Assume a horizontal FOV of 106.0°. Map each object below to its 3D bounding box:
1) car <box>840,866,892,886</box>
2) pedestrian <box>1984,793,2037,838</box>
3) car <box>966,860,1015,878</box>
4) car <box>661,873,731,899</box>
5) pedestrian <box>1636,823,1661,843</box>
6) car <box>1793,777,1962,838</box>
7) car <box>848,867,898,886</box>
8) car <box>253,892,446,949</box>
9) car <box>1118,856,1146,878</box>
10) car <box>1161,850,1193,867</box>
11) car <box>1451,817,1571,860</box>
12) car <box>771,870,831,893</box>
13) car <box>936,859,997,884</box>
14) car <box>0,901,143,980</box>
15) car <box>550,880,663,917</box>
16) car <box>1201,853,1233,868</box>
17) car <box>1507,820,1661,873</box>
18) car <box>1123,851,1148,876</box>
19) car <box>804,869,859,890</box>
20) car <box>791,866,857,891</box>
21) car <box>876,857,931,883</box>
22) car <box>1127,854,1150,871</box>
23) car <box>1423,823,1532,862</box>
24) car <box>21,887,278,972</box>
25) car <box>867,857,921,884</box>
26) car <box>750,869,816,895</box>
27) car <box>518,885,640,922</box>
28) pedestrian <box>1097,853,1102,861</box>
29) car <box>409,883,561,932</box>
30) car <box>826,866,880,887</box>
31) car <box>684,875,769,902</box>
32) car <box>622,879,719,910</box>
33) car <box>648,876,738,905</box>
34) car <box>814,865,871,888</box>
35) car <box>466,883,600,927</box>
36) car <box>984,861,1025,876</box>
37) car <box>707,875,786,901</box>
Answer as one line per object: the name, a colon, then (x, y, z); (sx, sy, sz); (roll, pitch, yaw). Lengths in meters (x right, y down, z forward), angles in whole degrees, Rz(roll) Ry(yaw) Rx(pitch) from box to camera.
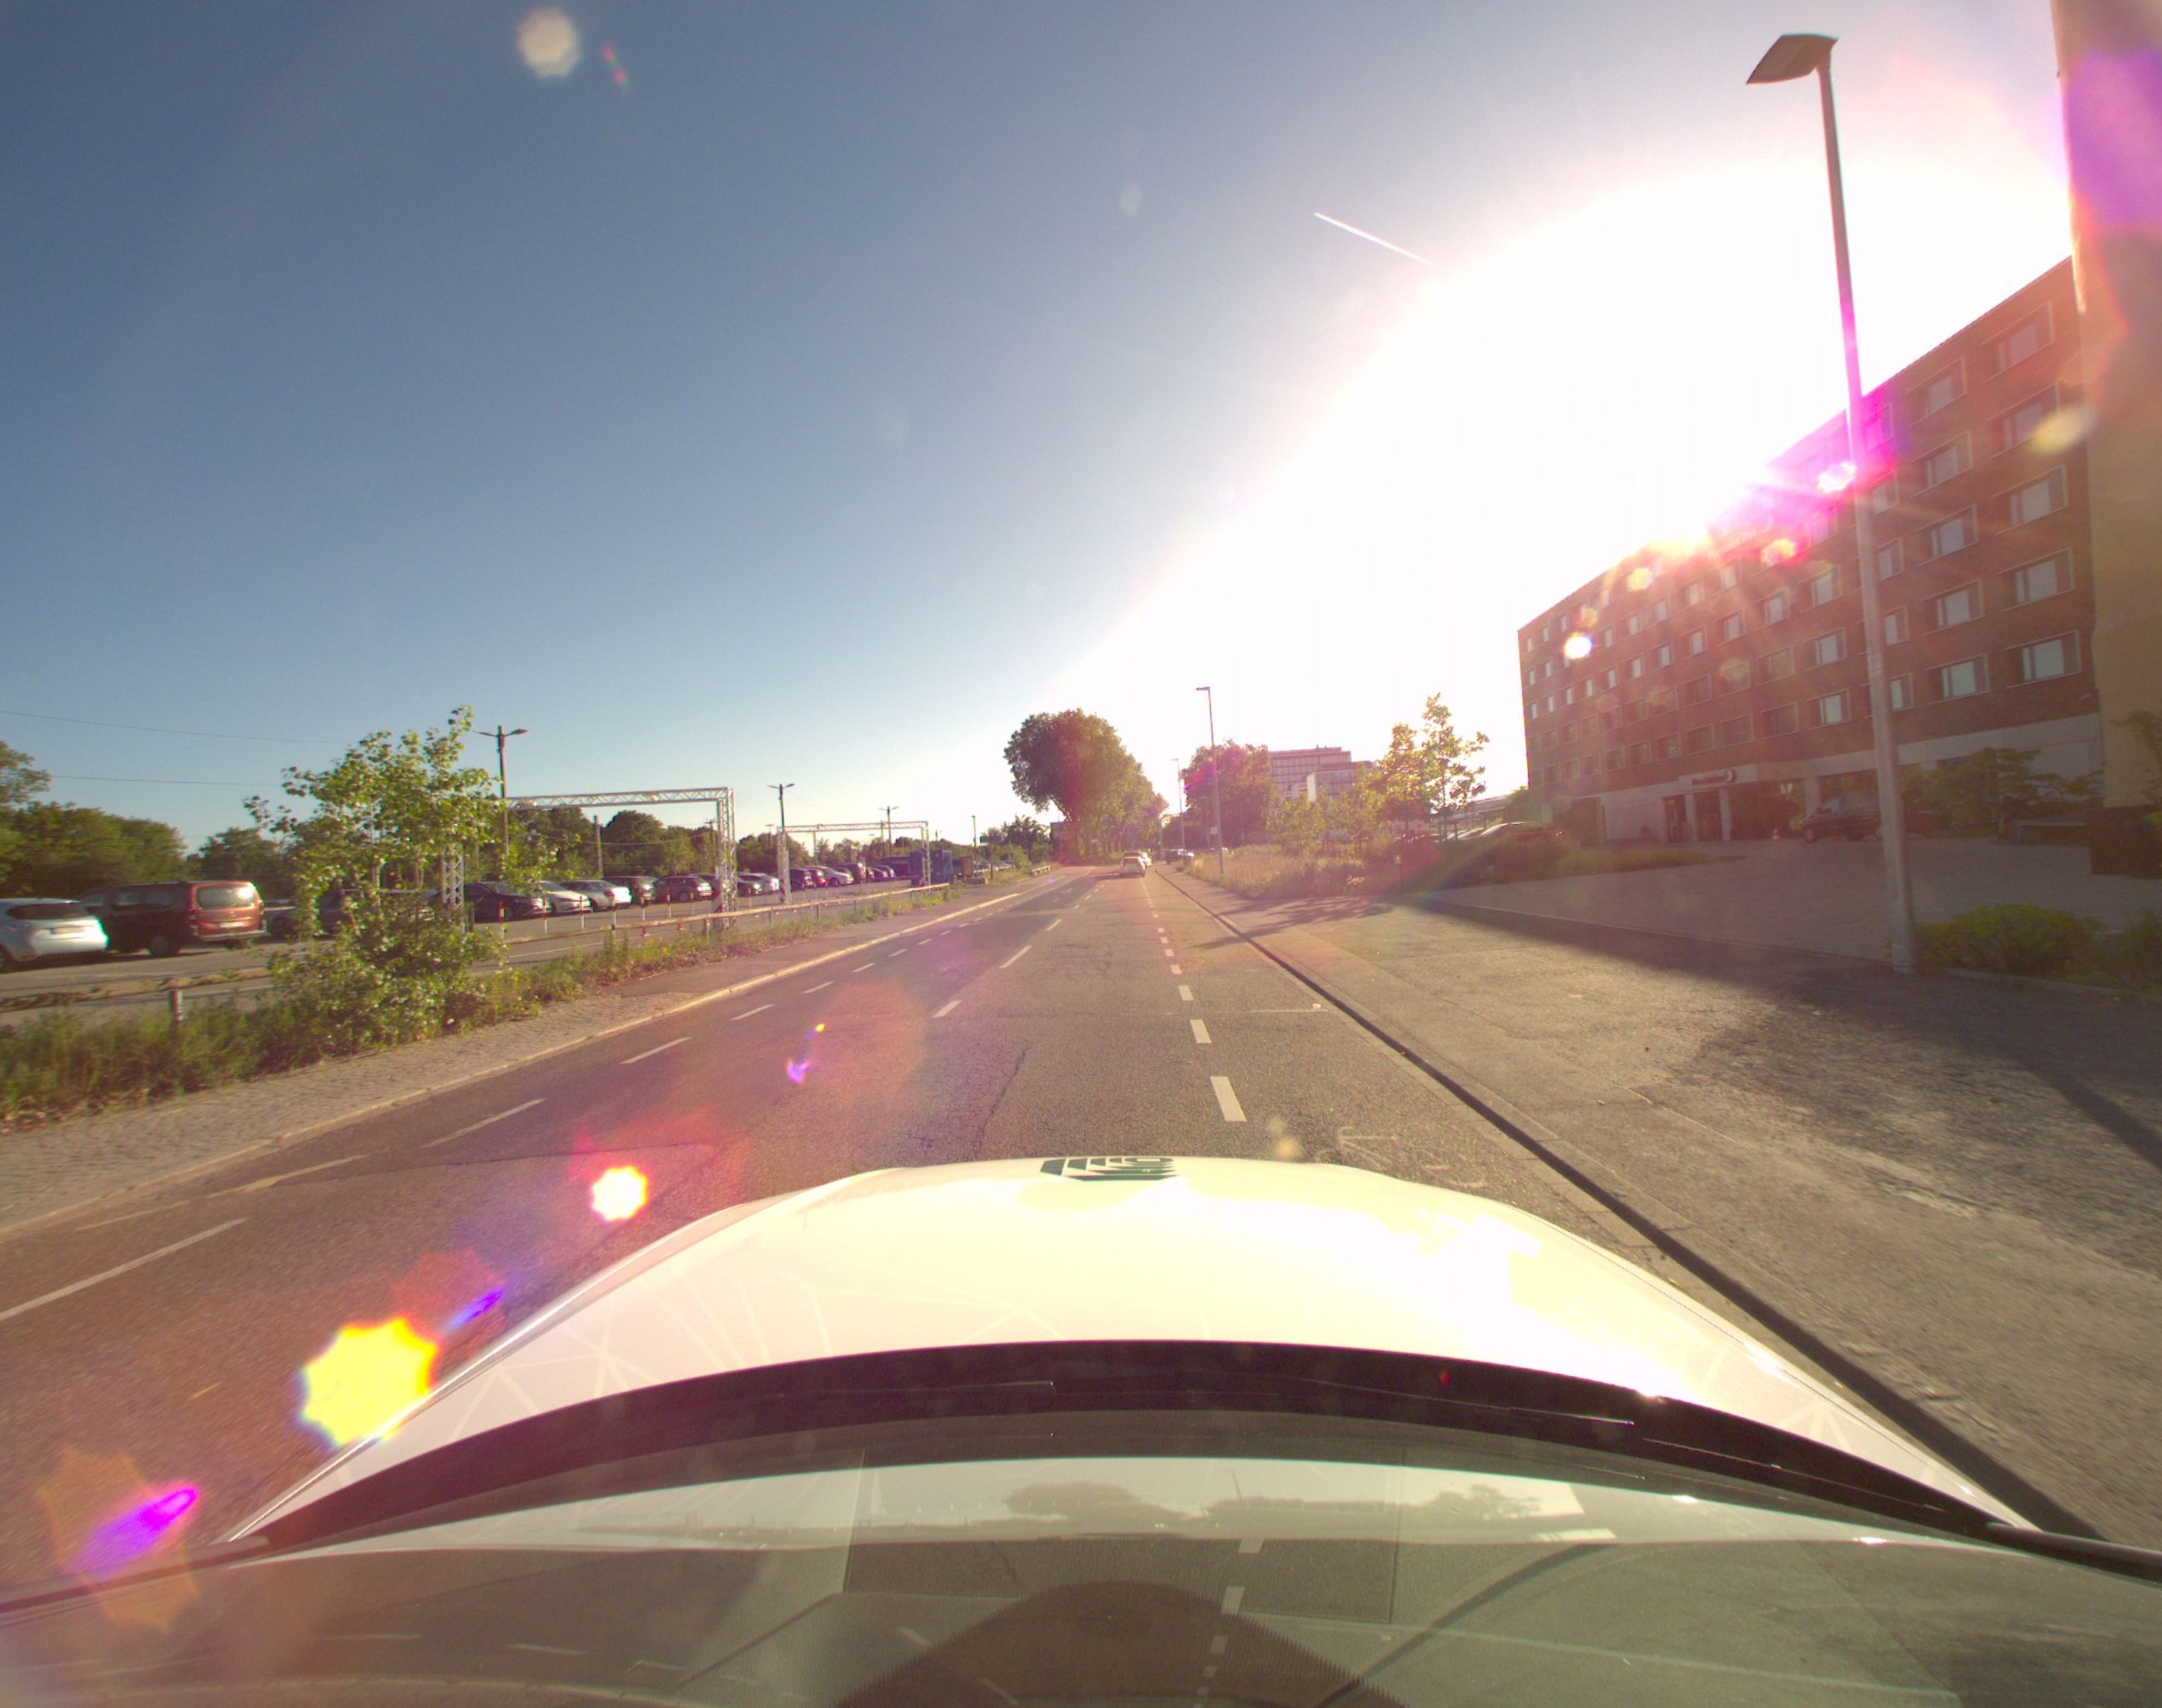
car: (-20.104, 2.078, 76.273); (4.304, 1.618, 1.880); (-3, 0, 2)
pedestrian: (25.500, -1.045, 22.363); (0.747, 1.136, 0.822); (-6, -2, 39)
car: (-9.036, 1.499, 81.232); (4.524, 1.557, 1.880); (-3, 0, 2)
car: (-26.536, 2.189, 56.245); (3.867, 1.603, 1.808); (-3, 0, 2)
pedestrian: (38.355, -1.400, 55.031); (0.924, 1.310, 1.011); (-3, 0, 4)
car: (30.297, -1.693, 31.240); (1.962, 1.935, 4.800); (-3, 0, 5)
car: (-20.103, 2.137, 78.865); (4.190, 1.618, 1.880); (-3, 0, 2)
car: (-23.209, 2.086, 25.938); (4.552, 1.480, 1.994); (-3, 0, 6)
car: (3.622, 0.915, 57.529); (1.781, 1.420, 4.006); (-3, 0, 5)
car: (10.760, 0.517, 90.939); (2.143, 1.684, 4.024); (-4, -1, 27)
car: (18.501, -0.640, 35.183); (4.162, 1.580, 1.855); (-3, 0, 7)
car: (-21.450, 2.077, 62.493); (3.867, 1.520, 1.880); (-3, 0, 2)
car: (-9.788, 1.478, 70.044); (4.825, 1.835, 2.001); (-3, 0, 2)
car: (-24.317, 1.976, 18.349); (4.347, 1.545, 1.859); (-3, 0, 4)
car: (-22.752, 2.131, 39.174); (4.302, 1.463, 1.880); (-3, 0, 4)
car: (16.560, 0.767, 99.005); (2.142, 1.684, 4.026); (-4, -2, 36)
car: (17.447, -0.238, 28.426); (4.162, 1.580, 1.855); (-3, 0, 7)
car: (4.268, 0.708, 63.839); (1.811, 1.769, 4.634); (-3, 0, 4)
car: (-20.922, 2.096, 68.404); (3.867, 1.520, 1.880); (-3, 0, 2)
car: (-20.586, 1.924, 65.313); (4.555, 1.741, 2.062); (-3, 0, 7)
car: (-18.822, 1.672, 86.525); (5.075, 2.459, 2.321); (-3, 0, 2)
car: (5.790, 0.816, 81.400); (1.887, 1.596, 4.010); (-3, 0, 8)
car: (18.488, -0.520, 38.129); (4.162, 1.580, 1.855); (-3, 0, 7)
car: (-23.557, 1.873, 20.695); (4.555, 1.805, 1.859); (-3, 0, 4)
car: (-19.221, 1.678, 83.870); (4.906, 2.459, 2.321); (-3, 0, 2)
car: (-21.213, 1.990, 58.069); (3.867, 1.603, 1.880); (-3, 0, 2)
car: (-22.483, 2.203, 36.575); (4.302, 1.393, 1.880); (-3, 0, 4)
pedestrian: (3.232, 0.546, 140.582); (0.675, 1.415, 0.685); (-4, -1, 4)
car: (-23.046, 2.068, 31.595); (4.555, 1.585, 1.859); (-3, 0, 4)
car: (-20.620, 2.038, 73.768); (4.304, 1.618, 1.880); (-3, 0, 2)
car: (-21.686, 2.115, 49.856); (4.304, 1.376, 1.880); (-3, 0, 2)
car: (-22.378, 2.185, 44.498); (4.304, 1.419, 1.880); (-3, 0, 2)
car: (-22.536, 2.132, 47.390); (4.304, 1.419, 1.880); (-3, 0, 2)
car: (-20.776, 1.977, 71.037); (4.304, 1.791, 1.880); (-3, 0, 2)
car: (-22.804, 2.096, 33.996); (4.302, 1.523, 1.880); (-3, 0, 4)
car: (-8.657, 1.650, 92.532); (4.407, 1.557, 1.880); (-3, 0, 2)
car: (-21.583, 2.180, 52.651); (4.304, 1.376, 1.880); (-3, 0, 2)
